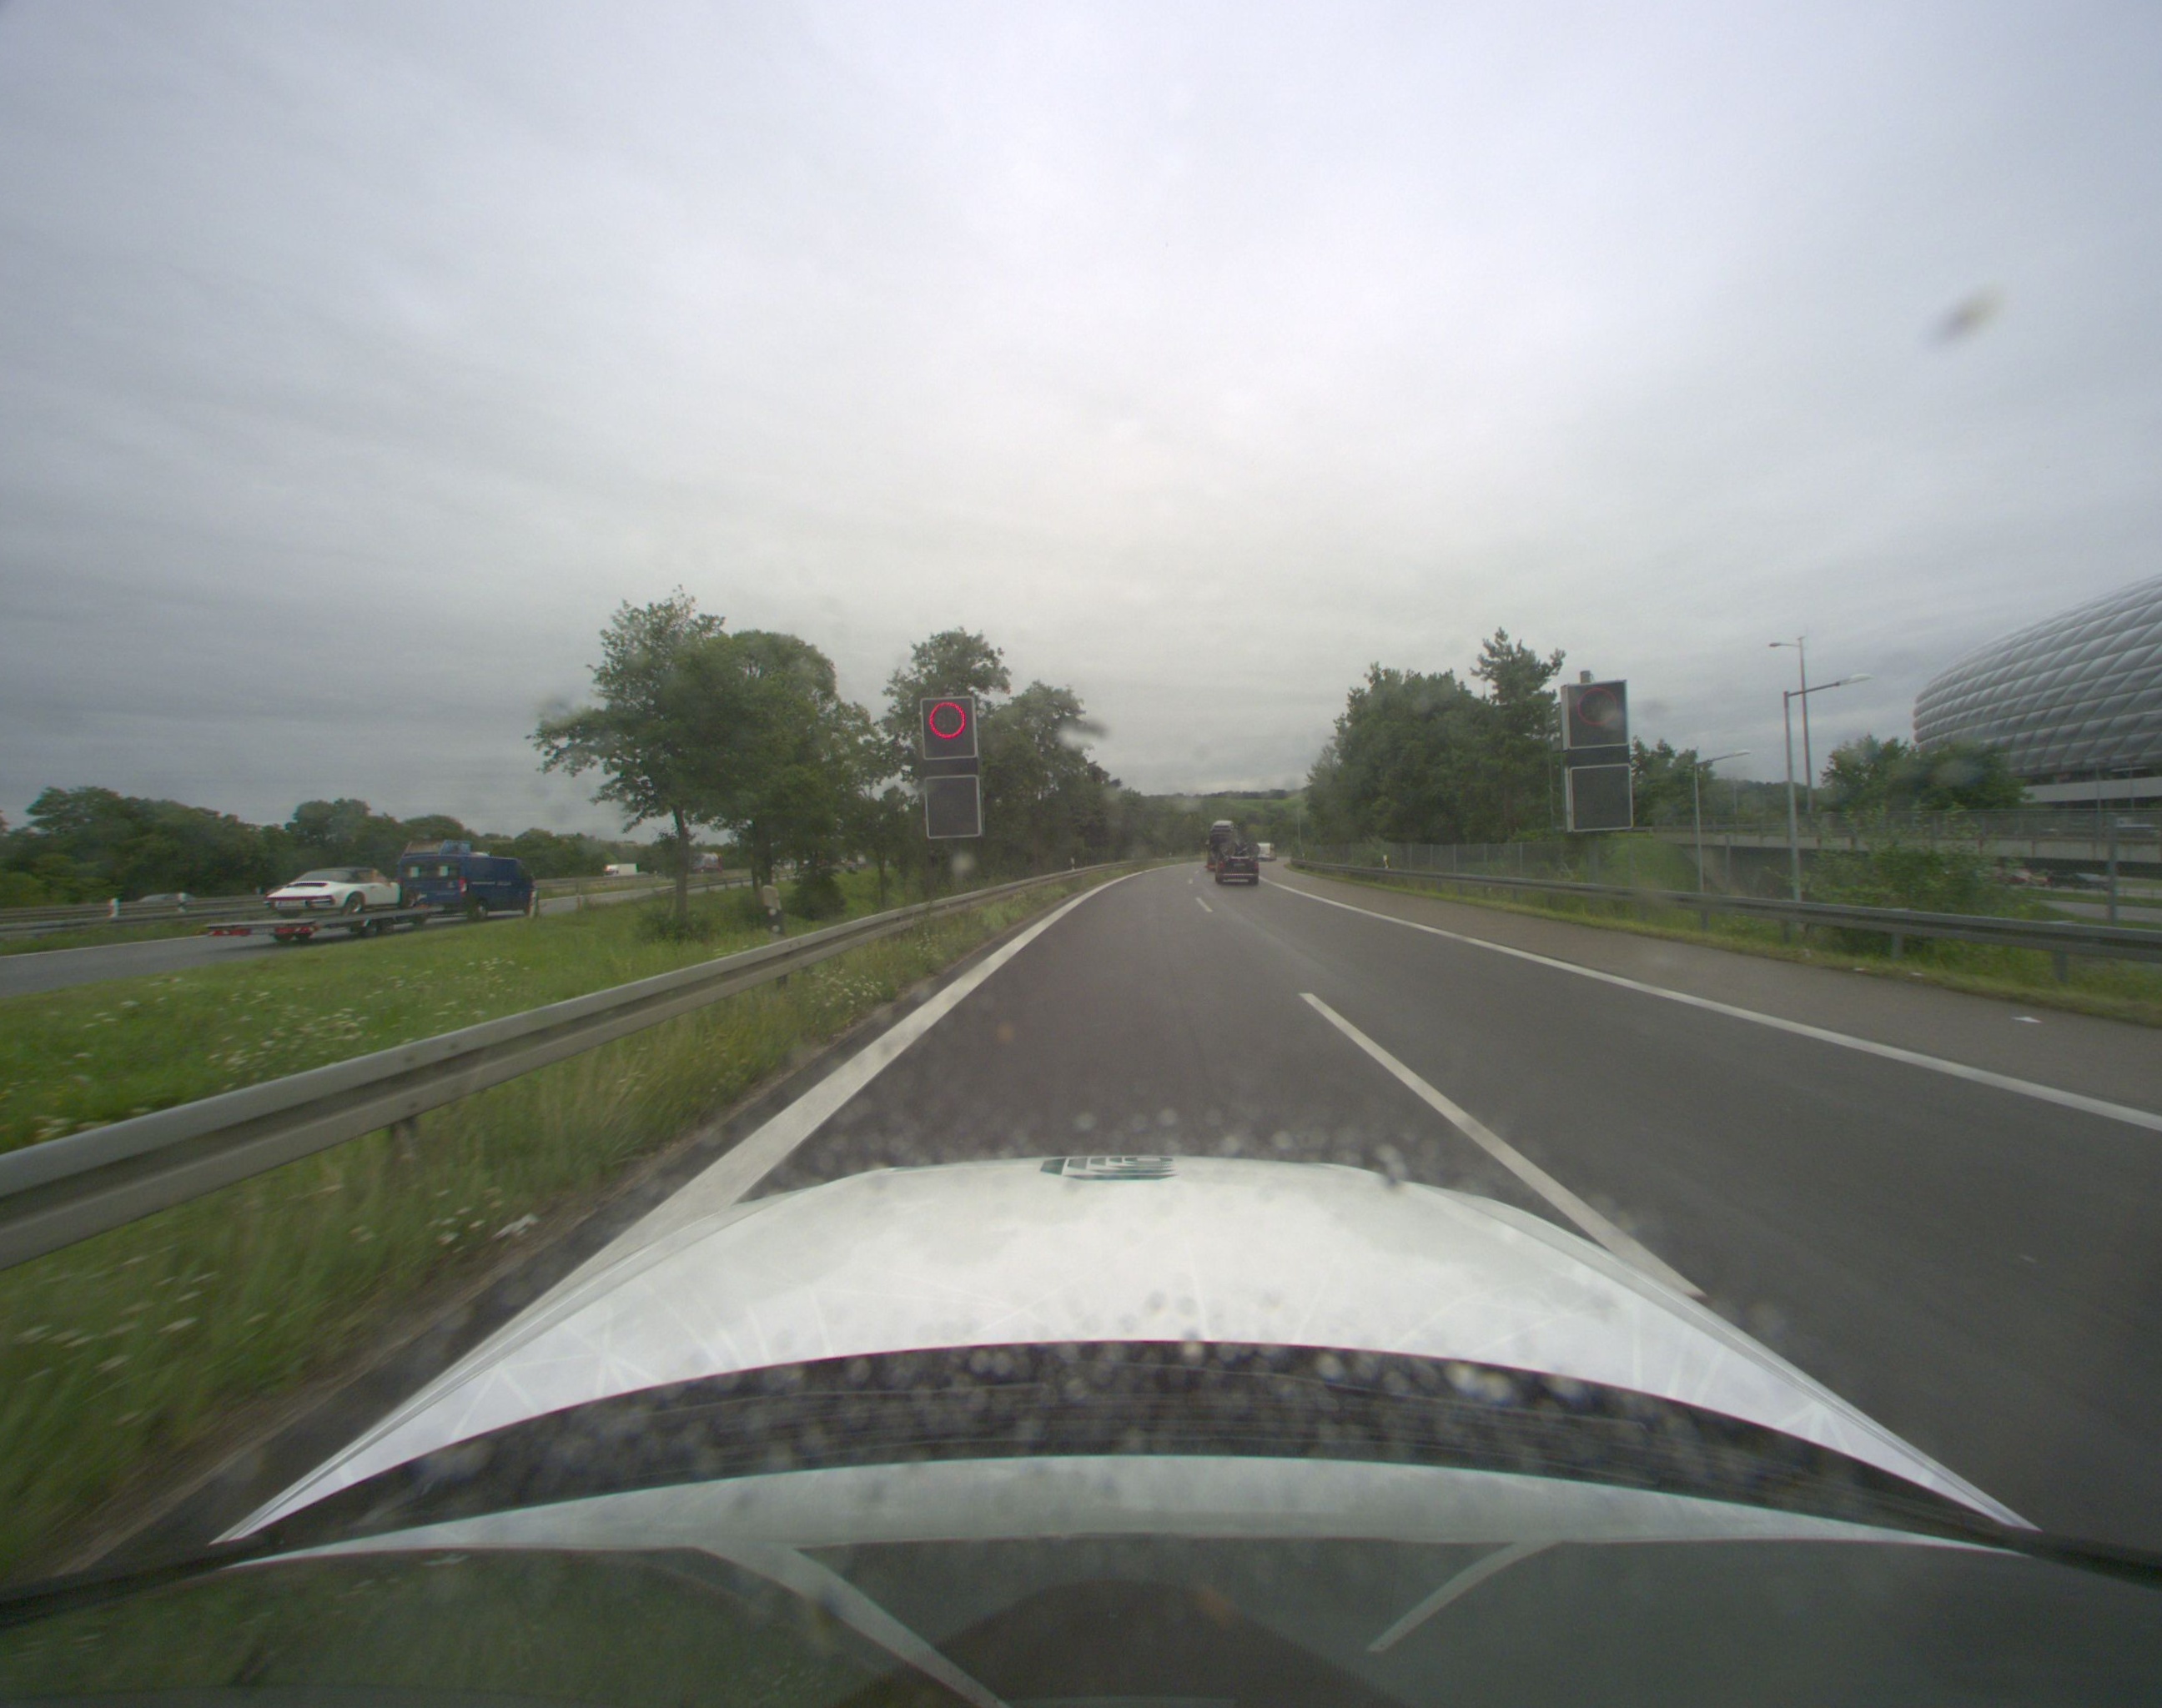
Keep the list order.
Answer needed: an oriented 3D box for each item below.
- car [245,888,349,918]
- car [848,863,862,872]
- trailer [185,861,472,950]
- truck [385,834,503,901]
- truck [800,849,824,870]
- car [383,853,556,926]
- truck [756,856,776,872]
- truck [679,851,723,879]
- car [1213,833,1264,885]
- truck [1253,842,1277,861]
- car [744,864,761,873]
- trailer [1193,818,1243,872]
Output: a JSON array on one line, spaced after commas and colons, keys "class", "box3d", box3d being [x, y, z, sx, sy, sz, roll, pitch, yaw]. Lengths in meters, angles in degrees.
[{"class": "car", "box3d": [-42.770, 2.633, 44.594, 1.804, 1.391, 4.756, -1, 0, -11]}, {"class": "car", "box3d": [-41.224, 2.450, 148.889, 1.962, 1.637, 5.604, -1, 0, -10]}, {"class": "trailer", "box3d": [-20.375, 1.232, 22.760, 2.485, 1.994, 7.037, -1, 0, -11]}, {"class": "truck", "box3d": [-39.051, 0.811, 50.270, 2.639, 3.812, 7.315, -1, 0, -11]}, {"class": "truck", "box3d": [-60.099, 1.146, 182.287, 3.734, 4.417, 10.158, -1, 0, -10]}, {"class": "car", "box3d": [-21.609, 1.150, 29.243, 2.373, 2.266, 6.233, -1, 0, -11]}, {"class": "truck", "box3d": [-54.426, 1.667, 140.908, 2.244, 2.704, 5.260, -1, 0, -10]}, {"class": "truck", "box3d": [-48.290, 1.384, 103.653, 2.857, 3.365, 8.600, -2, 0, -10]}, {"class": "car", "box3d": [7.428, 0.202, 38.830, 2.098, 2.264, 5.911, -1, 0, 9]}, {"class": "truck", "box3d": [26.362, -0.344, 116.456, 2.627, 2.605, 6.449, -2, 0, 18]}, {"class": "car", "box3d": [-59.205, 2.553, 146.800, 1.885, 1.574, 3.986, -1, 0, -10]}, {"class": "trailer", "box3d": [11.006, -0.702, 66.684, 3.431, 3.999, 12.050, 1, 1, 7]}]
